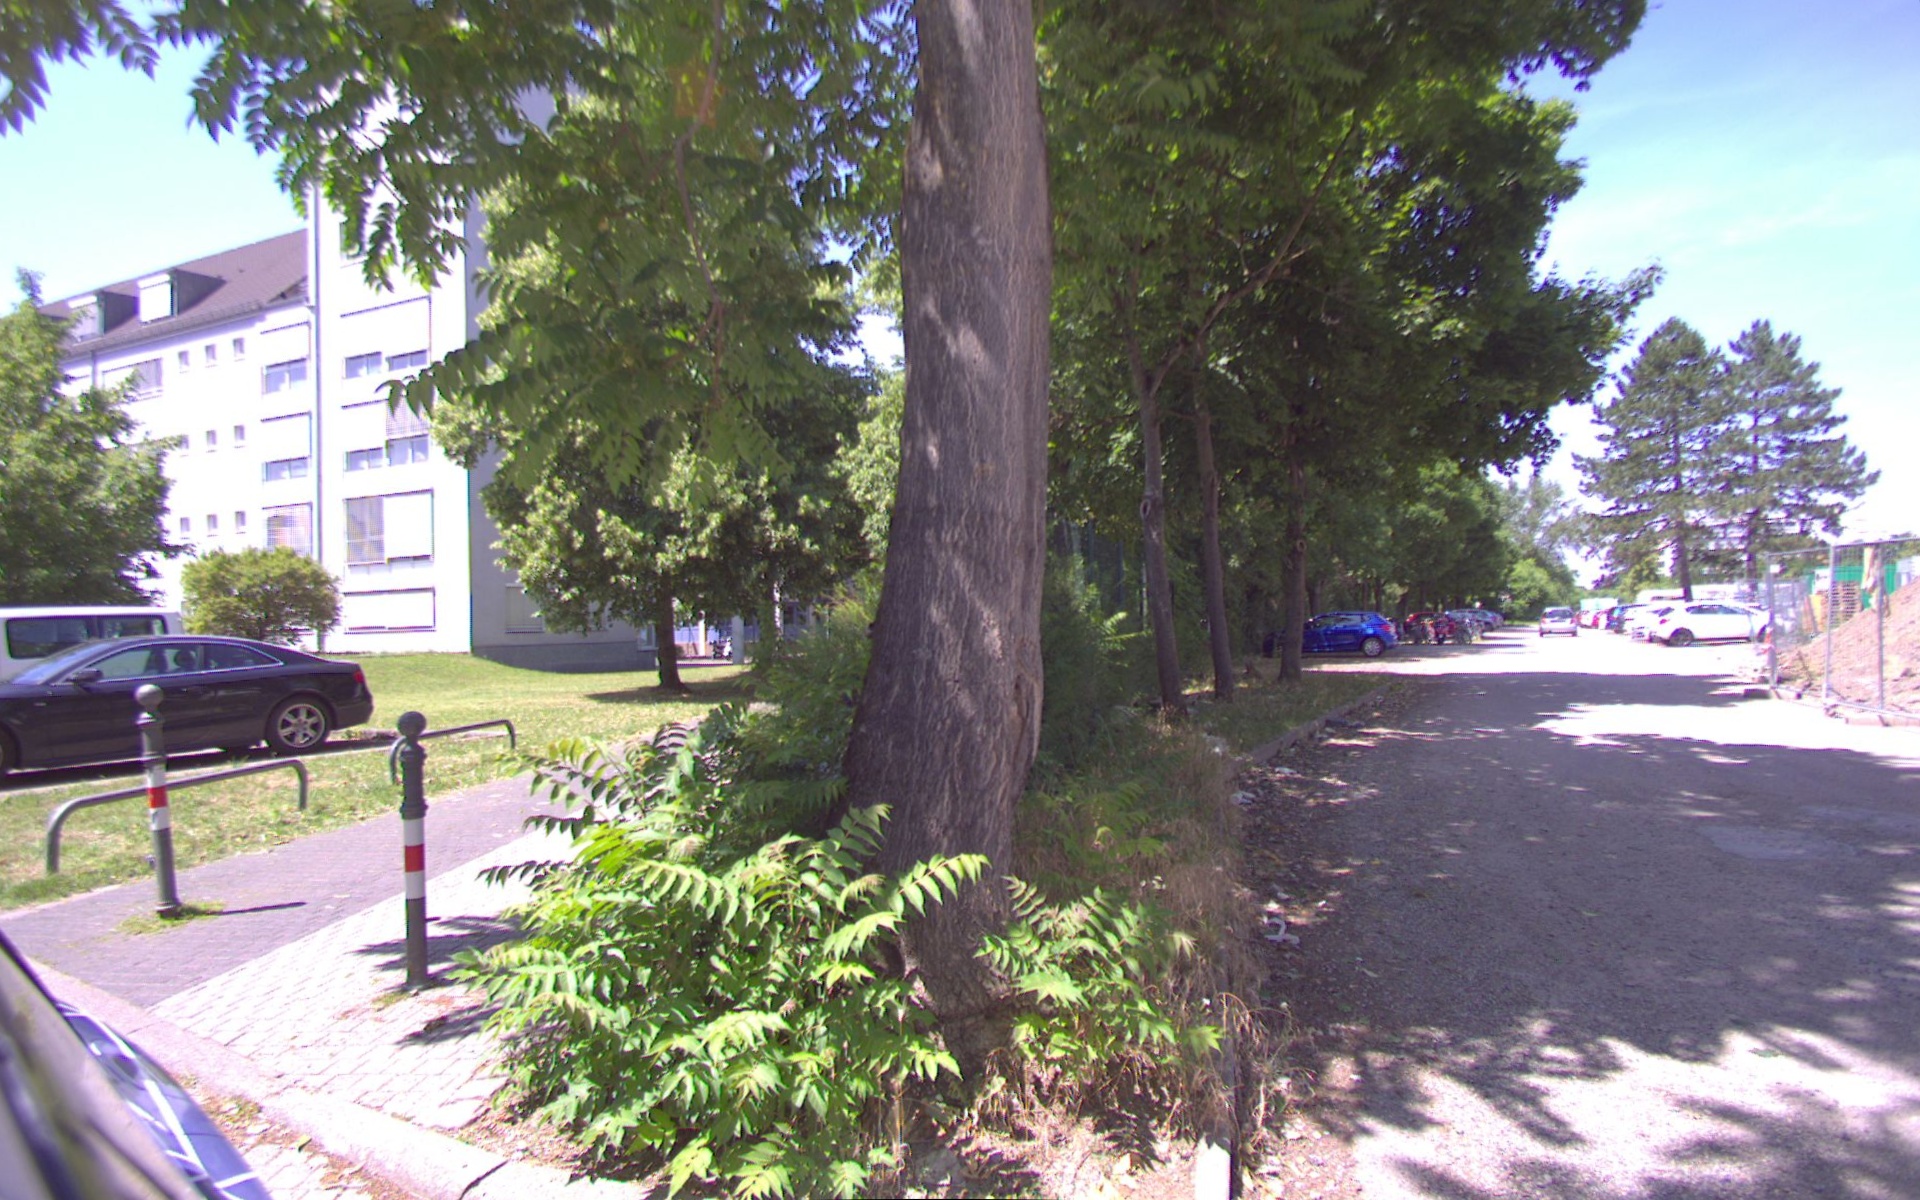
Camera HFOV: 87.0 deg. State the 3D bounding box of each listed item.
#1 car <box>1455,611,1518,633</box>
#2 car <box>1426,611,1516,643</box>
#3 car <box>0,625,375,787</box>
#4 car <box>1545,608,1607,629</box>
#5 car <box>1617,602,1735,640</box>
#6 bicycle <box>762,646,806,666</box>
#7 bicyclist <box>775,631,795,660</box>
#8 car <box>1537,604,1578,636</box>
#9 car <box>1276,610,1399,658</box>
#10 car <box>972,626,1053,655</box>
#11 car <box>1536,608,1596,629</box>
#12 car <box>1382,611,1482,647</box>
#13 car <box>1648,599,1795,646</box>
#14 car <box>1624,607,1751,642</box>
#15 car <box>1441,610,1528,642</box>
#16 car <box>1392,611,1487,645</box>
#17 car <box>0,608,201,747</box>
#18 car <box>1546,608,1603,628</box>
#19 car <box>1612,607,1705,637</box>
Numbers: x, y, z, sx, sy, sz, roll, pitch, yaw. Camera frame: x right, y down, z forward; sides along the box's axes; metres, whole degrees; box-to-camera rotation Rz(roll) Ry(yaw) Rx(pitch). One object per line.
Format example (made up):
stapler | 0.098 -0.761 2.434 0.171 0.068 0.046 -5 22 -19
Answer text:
car | 36.331 1.532 69.919 3.703 1.505 1.442 -1 -1 25
car | 23.413 1.232 46.459 3.608 1.425 1.377 -1 -1 26
car | -8.780 1.029 10.375 2.017 1.390 4.394 -4 -3 33
car | 45.375 1.360 74.606 3.703 1.505 1.442 -1 -1 25
car | 29.203 0.869 41.398 3.703 1.505 1.442 -1 -1 25
bicycle | -6.700 2.124 38.553 0.732 0.646 1.599 -5 -3 31
bicyclist | -6.679 1.736 38.610 0.516 1.053 0.516 -5 -4 33
car | 32.167 1.081 54.430 1.805 1.668 3.882 -2 -2 31
car | 11.847 1.079 31.770 3.532 1.432 1.570 -1 -1 25
car | 3.042 2.326 58.690 4.322 1.622 1.915 -2 -2 29
car | 46.337 1.409 77.472 3.703 1.505 1.442 -1 -1 25
car | 19.253 1.198 41.370 3.608 1.425 1.441 -1 -1 26
car | 25.714 0.765 34.315 3.703 1.505 1.442 -1 -1 25
car | 27.998 0.944 39.069 3.703 1.287 1.442 -1 -1 25
car | 24.983 1.249 48.291 3.608 1.425 1.377 -1 -1 26
car | 20.654 1.212 43.687 3.608 1.425 1.377 -1 -1 26
car | -13.985 1.081 14.309 2.061 1.898 4.809 -2 -2 33
car | 49.660 1.456 81.836 3.703 1.505 1.442 -1 -1 25
car | 36.246 1.154 52.592 3.703 1.505 1.442 -1 -1 25
